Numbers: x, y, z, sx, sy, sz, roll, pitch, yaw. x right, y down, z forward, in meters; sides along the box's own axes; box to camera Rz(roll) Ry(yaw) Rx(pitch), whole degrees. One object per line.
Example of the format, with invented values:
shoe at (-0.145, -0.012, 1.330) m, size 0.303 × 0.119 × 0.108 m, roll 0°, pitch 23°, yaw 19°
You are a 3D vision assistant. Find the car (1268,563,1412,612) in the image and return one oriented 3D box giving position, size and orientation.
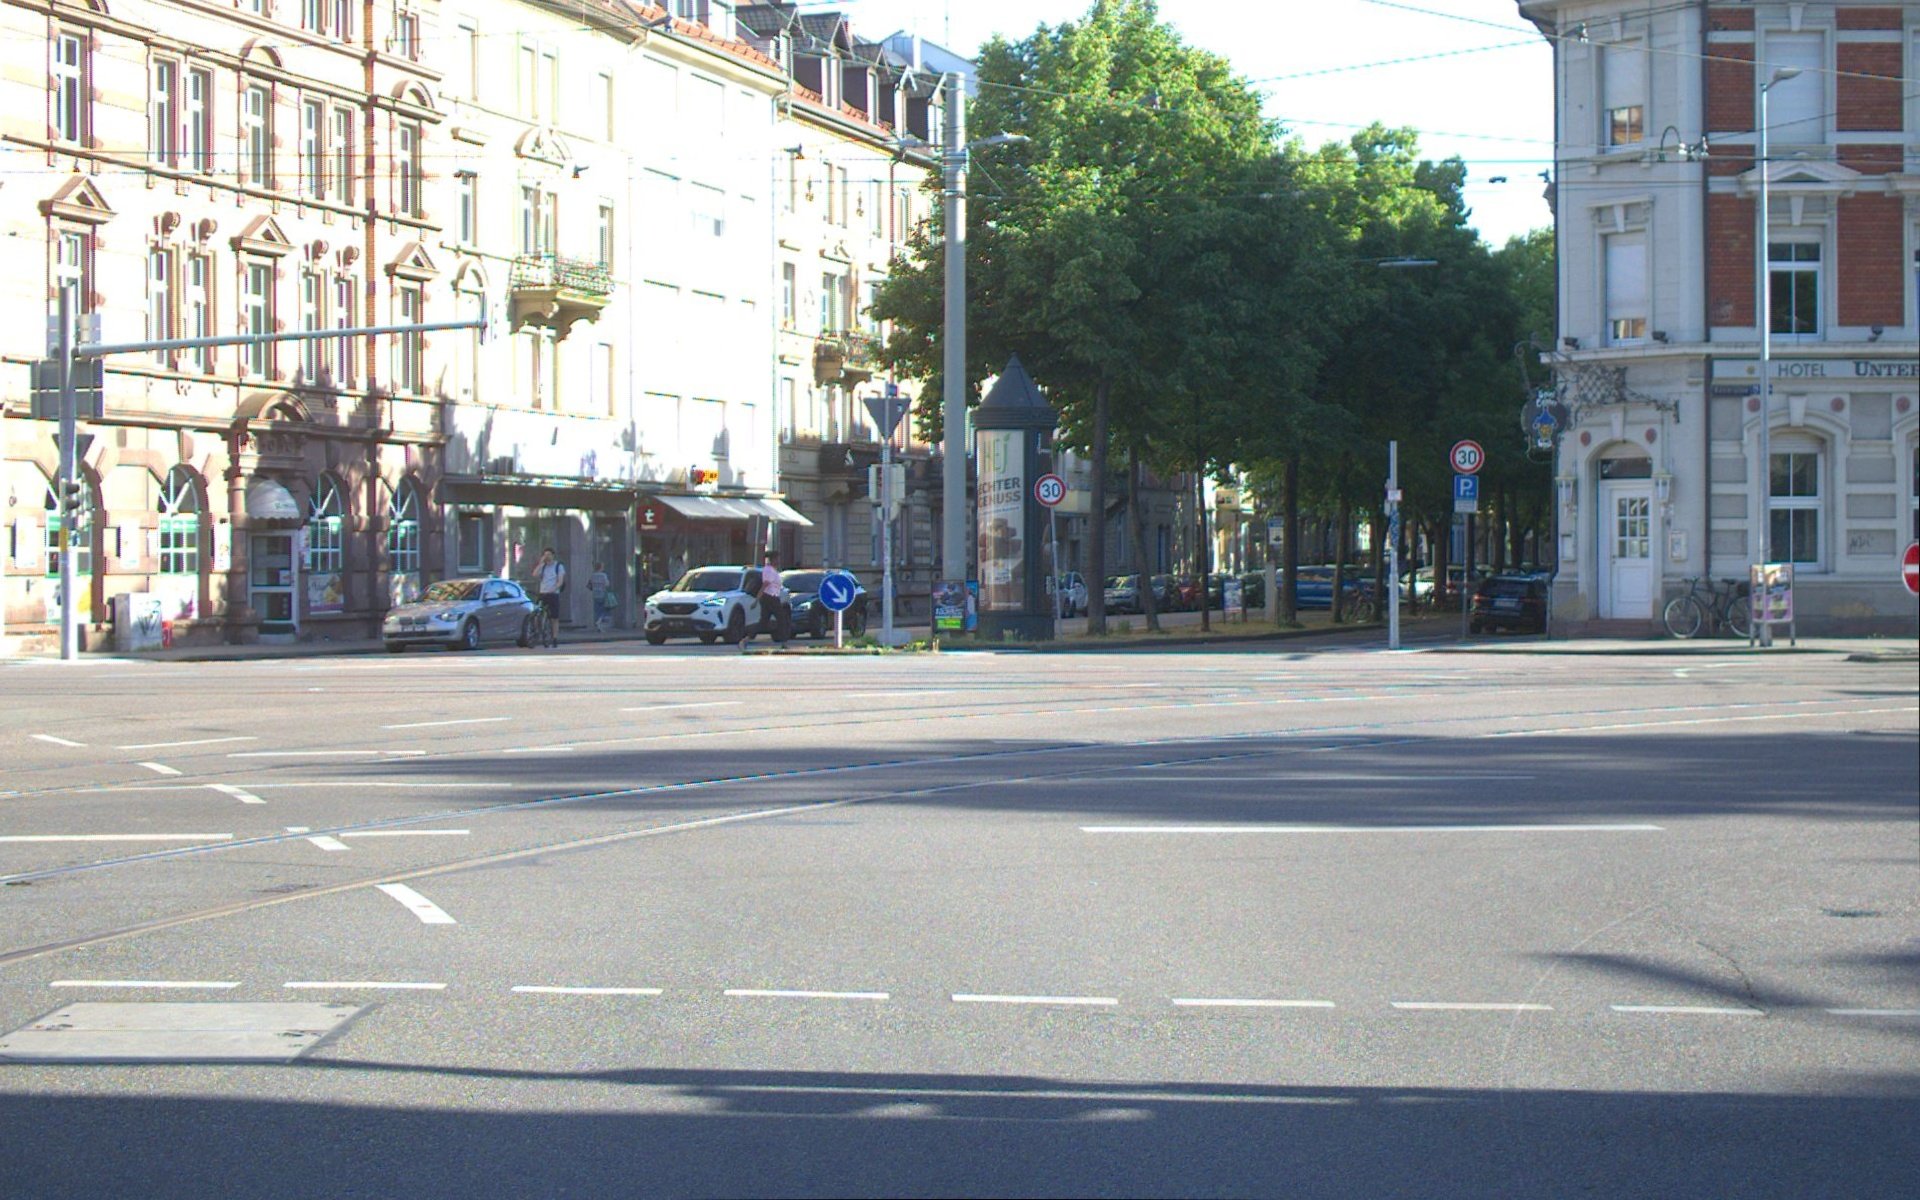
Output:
car at (12.740, -0.433, 115.398) m, size 4.382 × 1.606 × 1.997 m, roll 0°, pitch 1°, yaw 27°

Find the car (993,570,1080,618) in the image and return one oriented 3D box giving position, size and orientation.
car at (2.485, -0.218, 110.974) m, size 1.995 × 1.481 × 3.998 m, roll 0°, pitch 1°, yaw 14°

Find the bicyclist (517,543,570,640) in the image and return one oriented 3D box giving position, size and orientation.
bicyclist at (-7.882, -0.161, 65.058) m, size 0.679 × 1.814 × 1.070 m, roll 0°, pitch 1°, yaw 12°

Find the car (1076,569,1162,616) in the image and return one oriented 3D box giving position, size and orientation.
car at (5.705, -0.294, 122.676) m, size 1.995 × 1.607 × 4.387 m, roll 0°, pitch 1°, yaw 17°

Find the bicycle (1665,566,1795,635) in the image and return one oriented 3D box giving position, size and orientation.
bicycle at (12.853, 0.014, 57.400) m, size 2.085 × 1.120 × 0.367 m, roll 1°, pitch 0°, yaw -4°

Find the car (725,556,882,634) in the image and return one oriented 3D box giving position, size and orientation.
car at (-3.321, -0.132, 73.850) m, size 1.995 × 1.606 × 4.387 m, roll 0°, pitch 1°, yaw 17°

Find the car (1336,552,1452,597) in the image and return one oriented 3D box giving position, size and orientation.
car at (16.861, -1.007, 133.635) m, size 3.993 × 1.700 × 1.997 m, roll 0°, pitch 1°, yaw 30°

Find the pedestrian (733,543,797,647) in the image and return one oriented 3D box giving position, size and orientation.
pedestrian at (-3.299, -0.095, 57.988) m, size 1.046 × 1.738 × 0.809 m, roll 0°, pitch 1°, yaw -5°

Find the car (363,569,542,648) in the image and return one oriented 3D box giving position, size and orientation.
car at (-9.855, 0.151, 67.062) m, size 1.900 × 1.450 × 3.997 m, roll 0°, pitch 1°, yaw 17°

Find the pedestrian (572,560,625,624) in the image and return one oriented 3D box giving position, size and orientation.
pedestrian at (-8.691, -0.198, 82.654) m, size 0.929 × 1.530 × 1.136 m, roll 0°, pitch 1°, yaw 14°

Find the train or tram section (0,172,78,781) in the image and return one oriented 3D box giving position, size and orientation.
train or tram section at (-8.685, -0.745, 22.249) m, size 2.815 × 3.488 × 7.960 m, roll -1°, pitch 1°, yaw -38°

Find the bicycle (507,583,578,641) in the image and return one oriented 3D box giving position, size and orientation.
bicycle at (-7.892, 0.219, 65.023) m, size 0.680 × 1.062 × 2.124 m, roll 0°, pitch 1°, yaw 12°

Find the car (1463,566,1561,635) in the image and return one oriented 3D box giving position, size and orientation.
car at (13.266, -0.006, 82.452) m, size 1.995 × 1.579 × 3.998 m, roll 0°, pitch 1°, yaw 14°

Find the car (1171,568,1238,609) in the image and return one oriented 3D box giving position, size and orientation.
car at (9.699, -0.461, 136.342) m, size 1.766 × 1.544 × 4.387 m, roll 0°, pitch 1°, yaw 16°

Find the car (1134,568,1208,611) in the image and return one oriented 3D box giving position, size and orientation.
car at (8.032, -0.412, 130.465) m, size 1.839 × 1.547 × 4.387 m, roll 0°, pitch 1°, yaw 17°

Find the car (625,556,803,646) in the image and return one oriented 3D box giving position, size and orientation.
car at (-4.767, -0.015, 67.337) m, size 1.995 × 1.678 × 4.387 m, roll 0°, pitch 1°, yaw 17°
